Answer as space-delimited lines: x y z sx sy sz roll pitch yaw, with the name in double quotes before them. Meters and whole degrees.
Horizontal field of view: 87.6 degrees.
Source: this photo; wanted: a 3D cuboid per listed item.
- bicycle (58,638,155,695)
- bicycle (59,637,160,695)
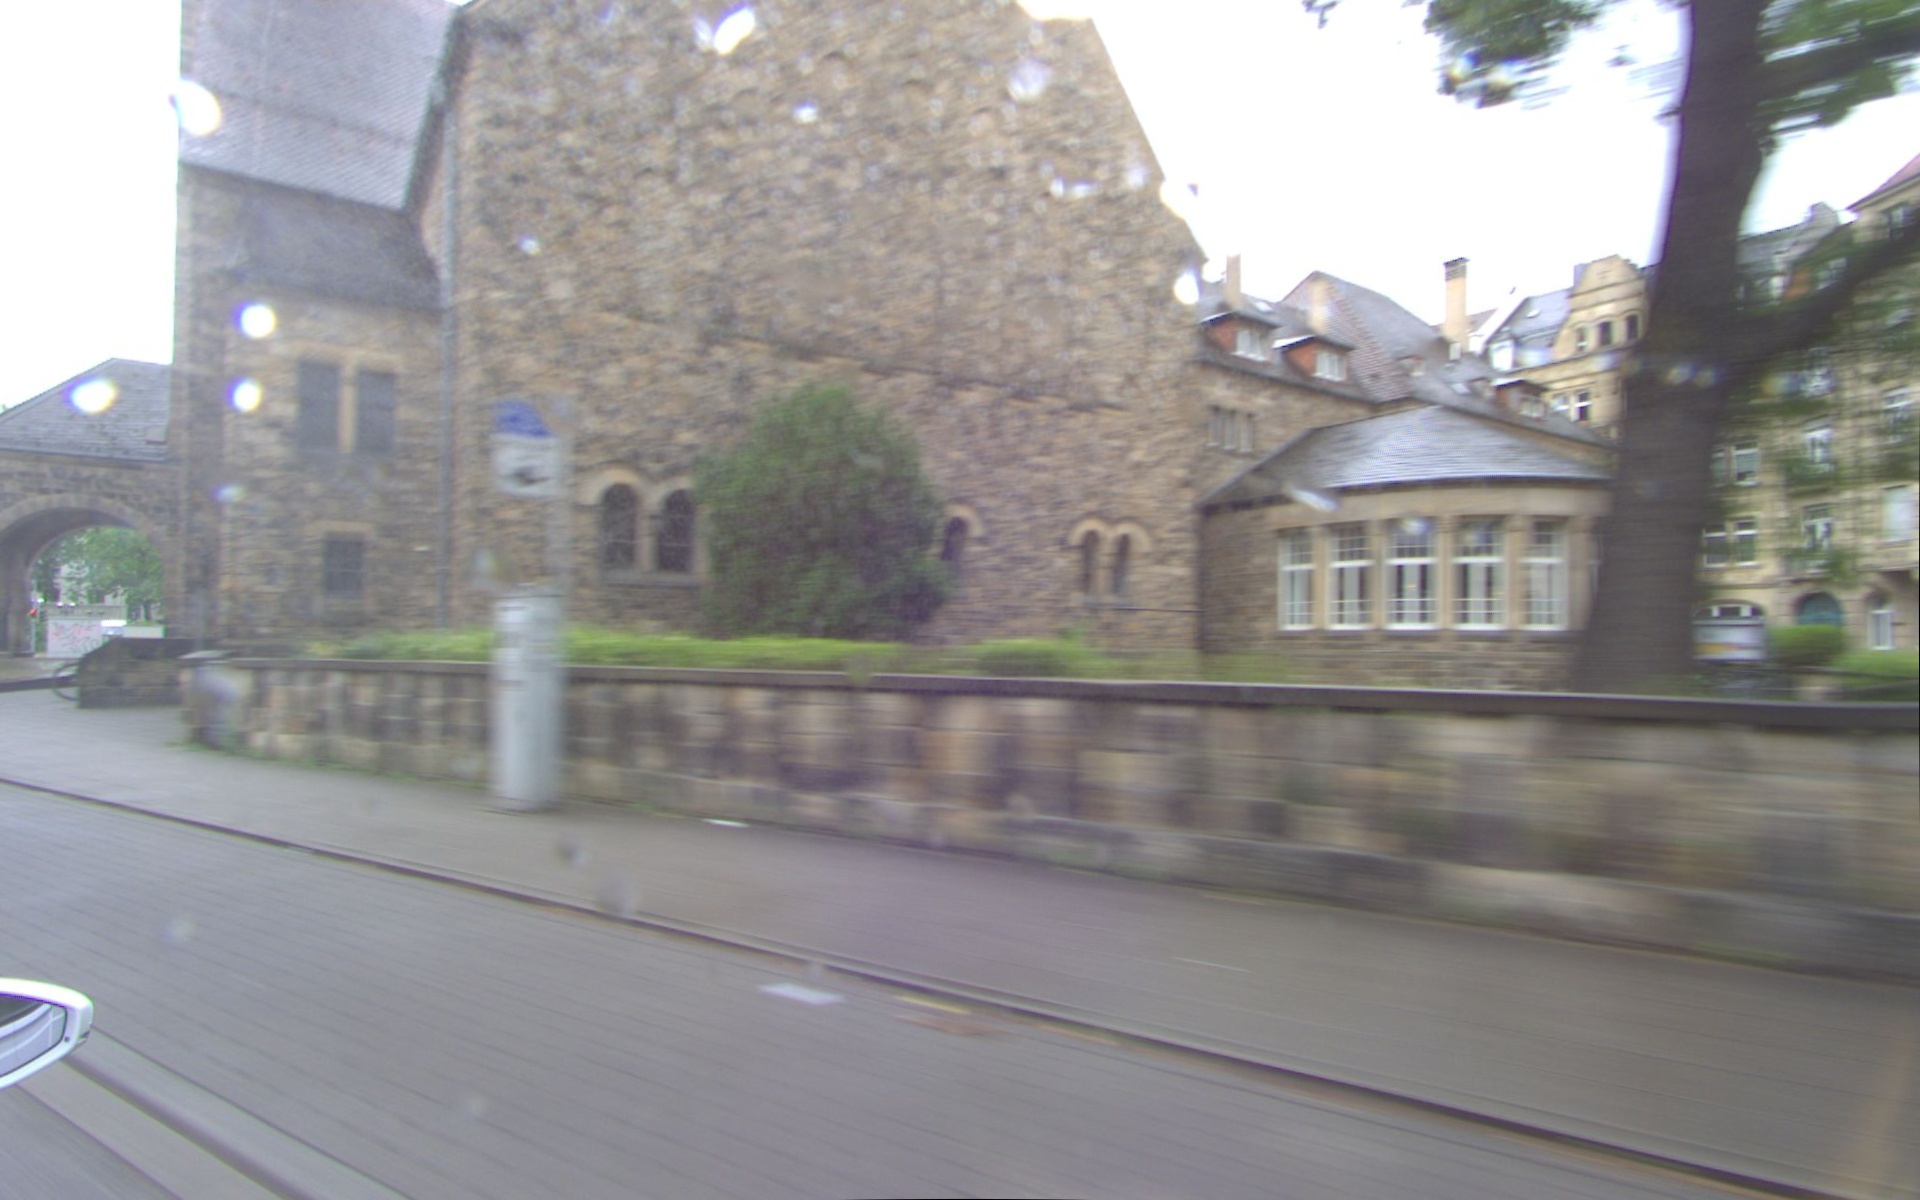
"bicycle" -17.280 1.330 20.311 1.474 1.116 0.360 1 -1 -38
"bicycle" -16.982 1.308 20.027 1.510 1.116 0.360 1 -1 -38
